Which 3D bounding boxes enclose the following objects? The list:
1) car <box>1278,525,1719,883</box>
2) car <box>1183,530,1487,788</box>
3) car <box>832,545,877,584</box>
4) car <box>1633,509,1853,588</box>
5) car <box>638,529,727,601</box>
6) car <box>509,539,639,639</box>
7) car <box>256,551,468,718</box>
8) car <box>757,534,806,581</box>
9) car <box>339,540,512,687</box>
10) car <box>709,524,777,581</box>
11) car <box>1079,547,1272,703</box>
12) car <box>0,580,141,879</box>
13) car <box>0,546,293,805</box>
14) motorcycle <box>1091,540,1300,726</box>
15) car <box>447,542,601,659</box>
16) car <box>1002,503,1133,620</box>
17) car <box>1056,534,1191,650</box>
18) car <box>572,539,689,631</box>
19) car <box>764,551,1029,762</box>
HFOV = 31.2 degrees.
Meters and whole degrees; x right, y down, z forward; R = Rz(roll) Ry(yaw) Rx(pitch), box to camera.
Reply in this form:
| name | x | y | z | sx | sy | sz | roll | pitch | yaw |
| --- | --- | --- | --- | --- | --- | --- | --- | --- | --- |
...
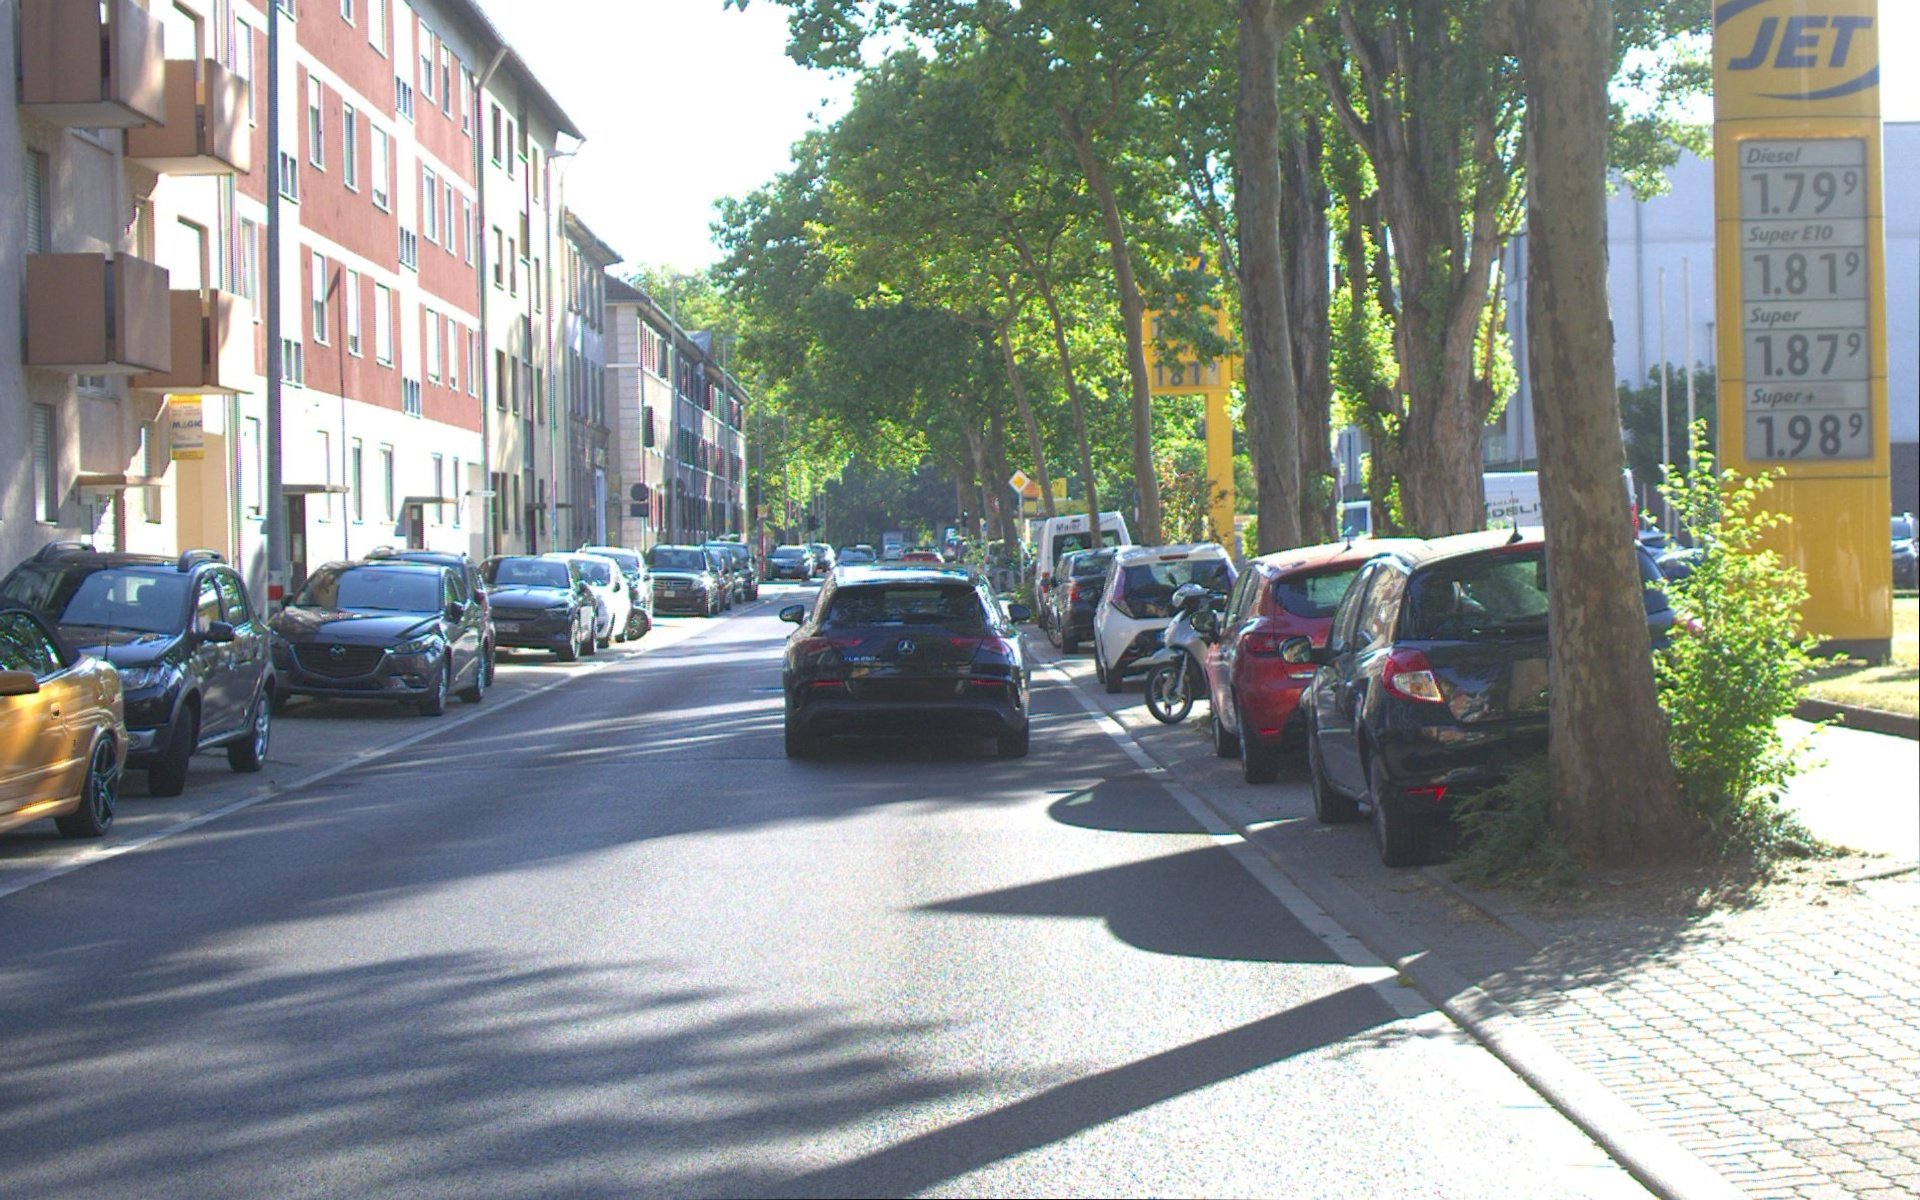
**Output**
| name | x | y | z | sx | sy | sz | roll | pitch | yaw |
| --- | --- | --- | --- | --- | --- | --- | --- | --- | --- |
| car | 2.586 | 0.448 | 17.233 | 1.559 | 1.590 | 3.601 | 1 | 1 | -1 |
| car | 2.444 | 0.346 | 23.131 | 1.559 | 1.590 | 3.601 | 1 | 1 | -1 |
| car | -4.578 | -1.526 | 149.863 | 1.901 | 1.655 | 4.000 | 0 | 0 | -1 |
| car | 15.744 | -1.026 | 69.236 | 3.986 | 1.524 | 1.807 | 0 | 0 | -2 |
| car | -6.413 | -0.834 | 79.802 | 1.712 | 1.556 | 3.801 | 3 | 1 | 0 |
| car | -6.493 | -0.216 | 58.180 | 1.712 | 1.556 | 3.801 | 3 | 1 | 0 |
| car | -5.907 | 0.299 | 34.299 | 1.712 | 1.459 | 3.798 | 3 | 1 | -5 |
| car | -7.533 | -1.785 | 145.354 | 1.907 | 1.941 | 4.000 | 0 | 0 | -1 |
| car | -6.284 | 0.123 | 40.738 | 1.712 | 1.556 | 3.798 | 3 | 1 | -5 |
| car | -6.351 | -1.398 | 100.901 | 1.712 | 1.556 | 3.801 | 3 | 1 | 0 |
| car | 2.230 | 0.228 | 36.356 | 1.722 | 1.552 | 3.601 | 1 | 1 | -1 |
| car | -5.579 | 0.647 | 17.955 | 1.596 | 1.429 | 4.217 | 1 | 1 | 0 |
| car | -5.793 | 0.454 | 23.969 | 1.596 | 1.624 | 3.838 | 1 | 1 | -1 |
| motorcycle | 1.997 | 0.275 | 29.129 | 1.641 | 1.552 | 0.612 | 0 | 1 | -21 |
| car | -6.334 | -0.020 | 50.256 | 1.712 | 1.556 | 3.801 | 3 | 1 | 0 |
| car | 1.892 | -0.661 | 61.652 | 1.993 | 2.007 | 4.000 | 0 | 0 | -3 |
| car | 2.267 | -0.128 | 48.415 | 1.633 | 1.552 | 3.601 | 1 | 1 | -1 |
| car | -6.009 | -0.300 | 63.040 | 1.712 | 1.556 | 3.801 | 3 | 1 | 0 |
| car | -0.407 | 0.367 | 26.215 | 1.744 | 1.438 | 3.969 | 1 | 1 | 3 |
